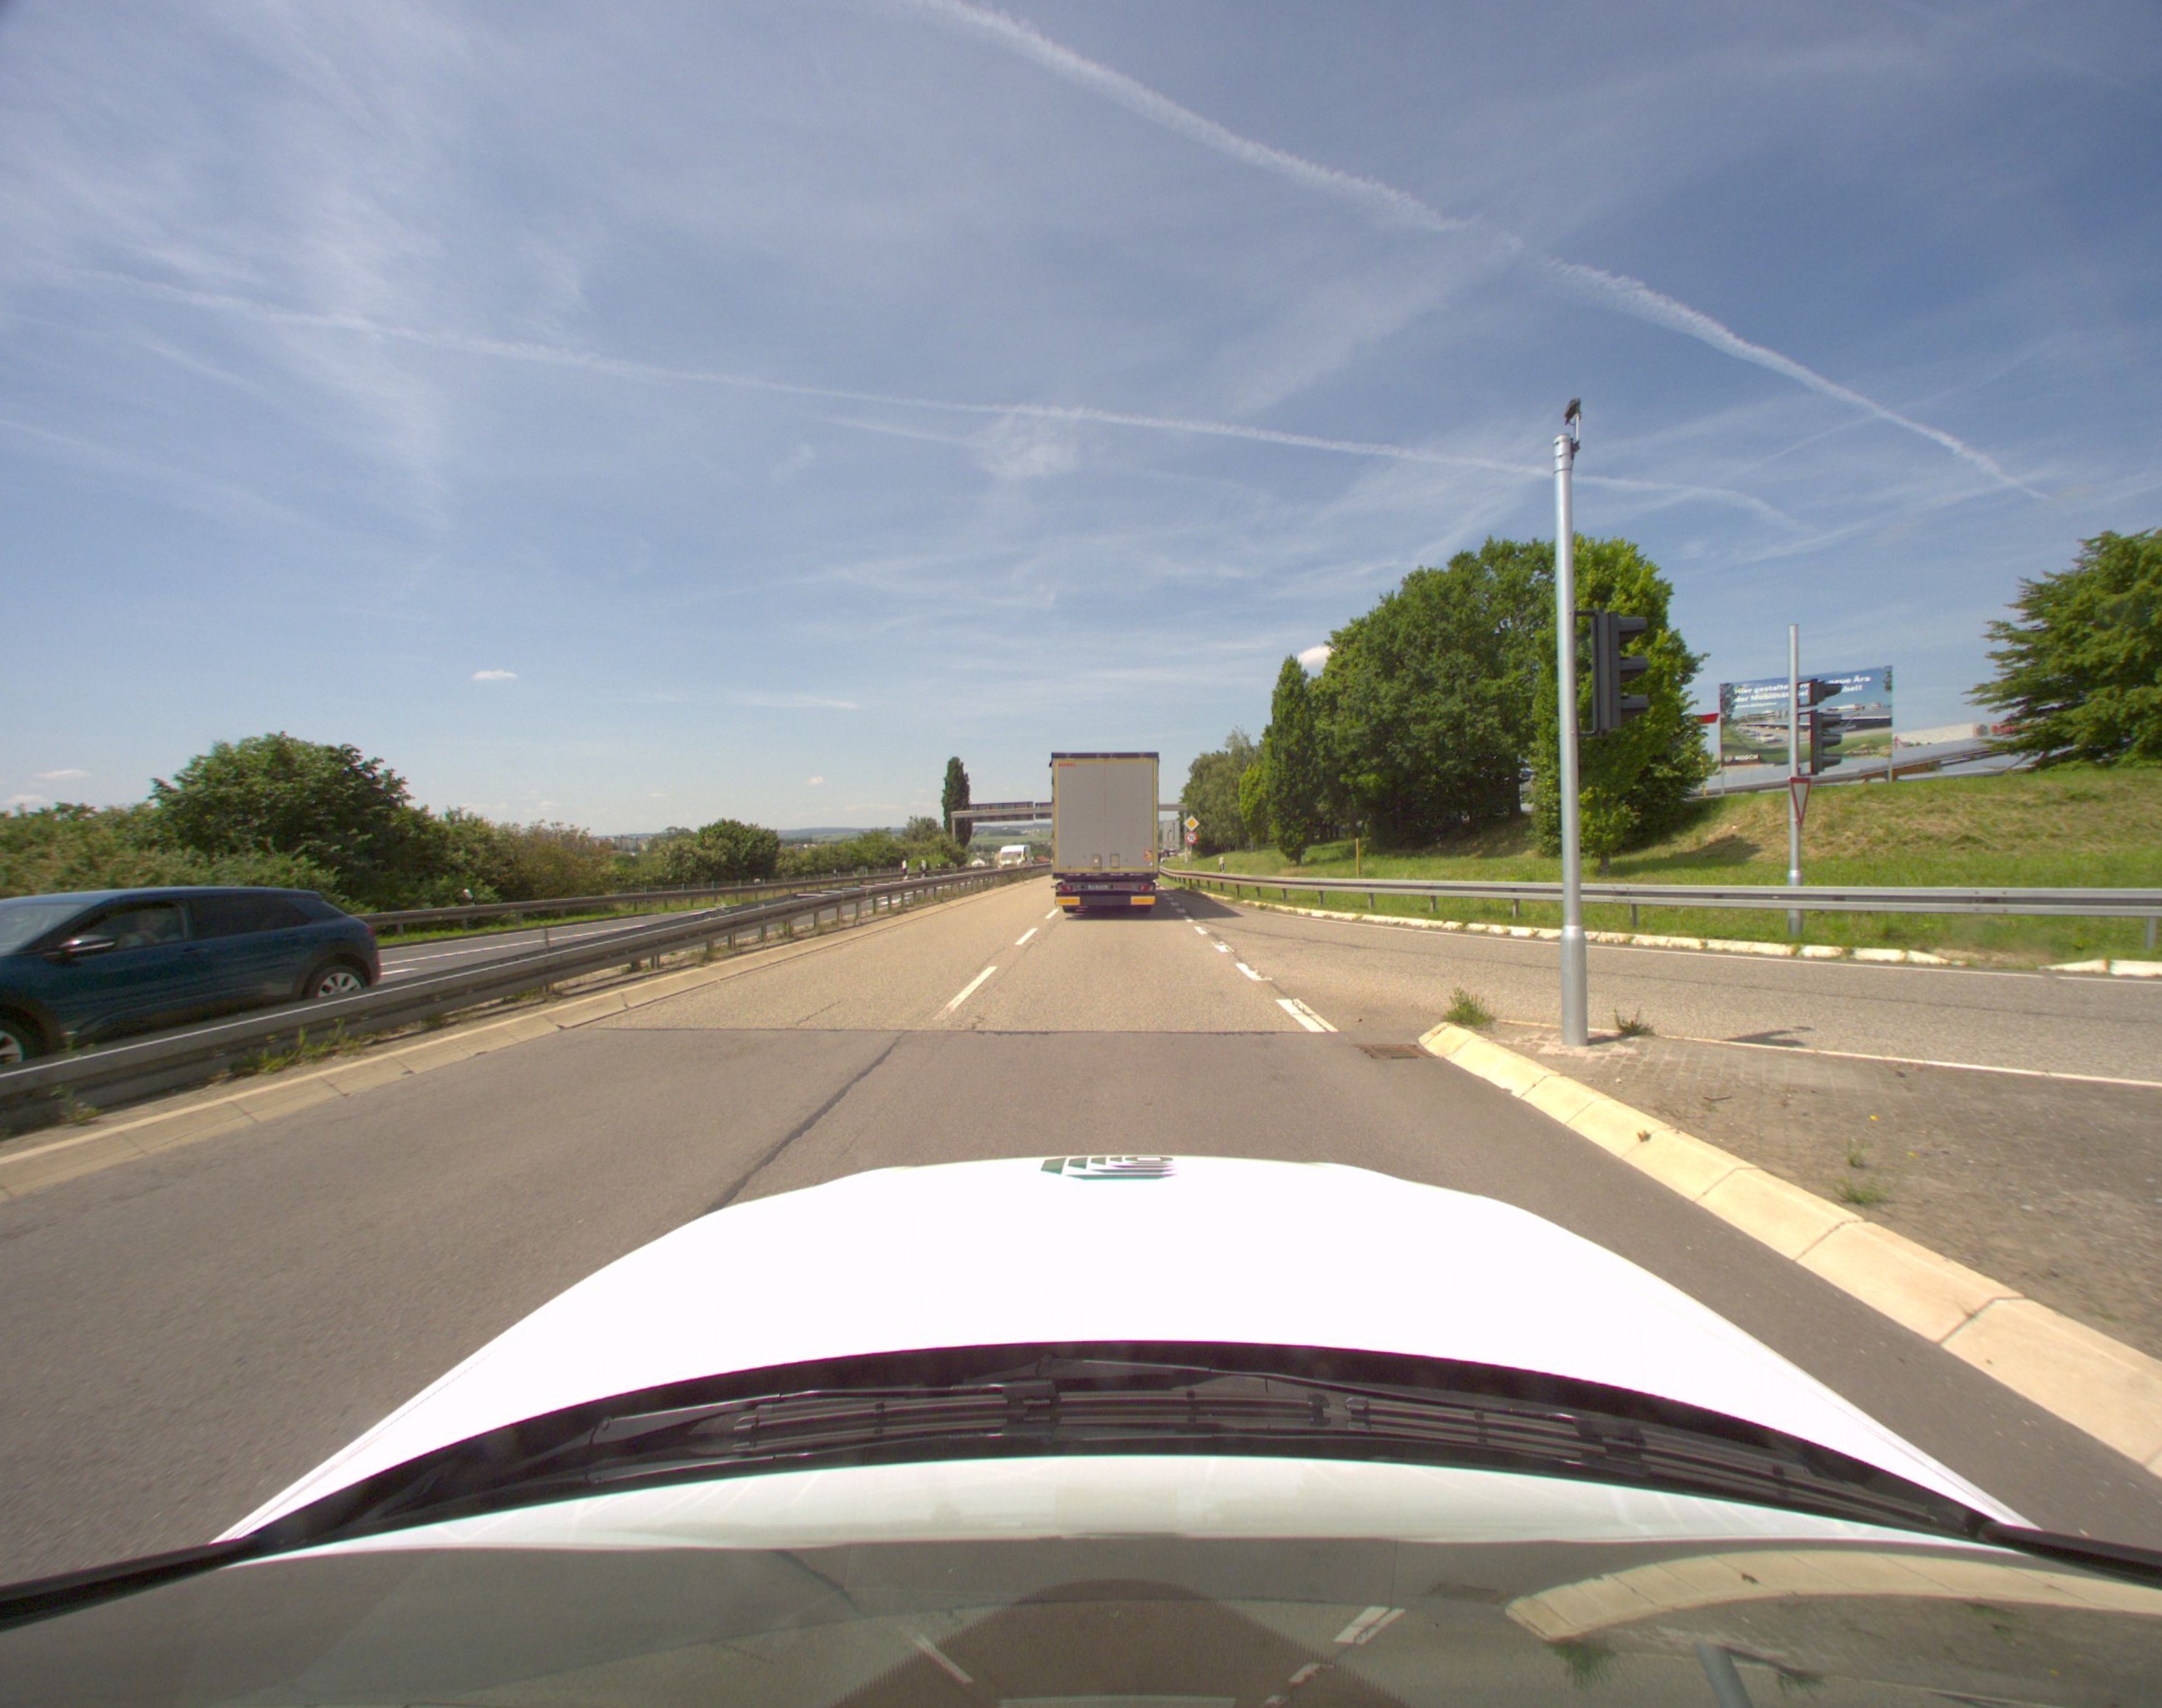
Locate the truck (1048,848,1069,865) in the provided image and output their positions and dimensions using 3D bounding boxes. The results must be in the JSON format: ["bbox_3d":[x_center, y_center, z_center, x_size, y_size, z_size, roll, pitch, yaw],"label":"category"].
[{"bbox_3d":[-2.574,0.334,93.510,1.840,1.749,4.543,-4,-1,5],"label":"truck"}]

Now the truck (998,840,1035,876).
[{"bbox_3d":[-5.091,0.314,65.273,2.032,2.621,6.024,-4,0,3],"label":"truck"}]

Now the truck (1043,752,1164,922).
[{"bbox_3d":[0.672,-0.415,24.681,2.789,3.929,11.344,-1,0,1],"label":"truck"}]

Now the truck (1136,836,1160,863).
[{"bbox_3d":[9.816,-0.532,118.054,2.639,3.764,10.188,-1,-1,9],"label":"truck"}]

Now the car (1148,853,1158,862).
[{"bbox_3d":[13.637,0.698,154.097,1.778,1.688,4.004,-1,-1,4],"label":"car"}]

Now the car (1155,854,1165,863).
[{"bbox_3d":[16.177,0.897,166.808,1.778,1.688,4.004,-1,-1,4],"label":"car"}]

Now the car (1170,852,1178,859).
[{"bbox_3d":[23.151,0.294,203.473,1.778,1.688,4.004,-1,-1,4],"label":"car"}]

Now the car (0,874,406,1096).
[{"bbox_3d":[-8.408,0.993,6.907,1.749,1.469,4.197,-3,0,1],"label":"car"}]

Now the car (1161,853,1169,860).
[{"bbox_3d":[18.999,0.563,184.509,1.778,1.688,4.004,-1,-1,4],"label":"car"}]
